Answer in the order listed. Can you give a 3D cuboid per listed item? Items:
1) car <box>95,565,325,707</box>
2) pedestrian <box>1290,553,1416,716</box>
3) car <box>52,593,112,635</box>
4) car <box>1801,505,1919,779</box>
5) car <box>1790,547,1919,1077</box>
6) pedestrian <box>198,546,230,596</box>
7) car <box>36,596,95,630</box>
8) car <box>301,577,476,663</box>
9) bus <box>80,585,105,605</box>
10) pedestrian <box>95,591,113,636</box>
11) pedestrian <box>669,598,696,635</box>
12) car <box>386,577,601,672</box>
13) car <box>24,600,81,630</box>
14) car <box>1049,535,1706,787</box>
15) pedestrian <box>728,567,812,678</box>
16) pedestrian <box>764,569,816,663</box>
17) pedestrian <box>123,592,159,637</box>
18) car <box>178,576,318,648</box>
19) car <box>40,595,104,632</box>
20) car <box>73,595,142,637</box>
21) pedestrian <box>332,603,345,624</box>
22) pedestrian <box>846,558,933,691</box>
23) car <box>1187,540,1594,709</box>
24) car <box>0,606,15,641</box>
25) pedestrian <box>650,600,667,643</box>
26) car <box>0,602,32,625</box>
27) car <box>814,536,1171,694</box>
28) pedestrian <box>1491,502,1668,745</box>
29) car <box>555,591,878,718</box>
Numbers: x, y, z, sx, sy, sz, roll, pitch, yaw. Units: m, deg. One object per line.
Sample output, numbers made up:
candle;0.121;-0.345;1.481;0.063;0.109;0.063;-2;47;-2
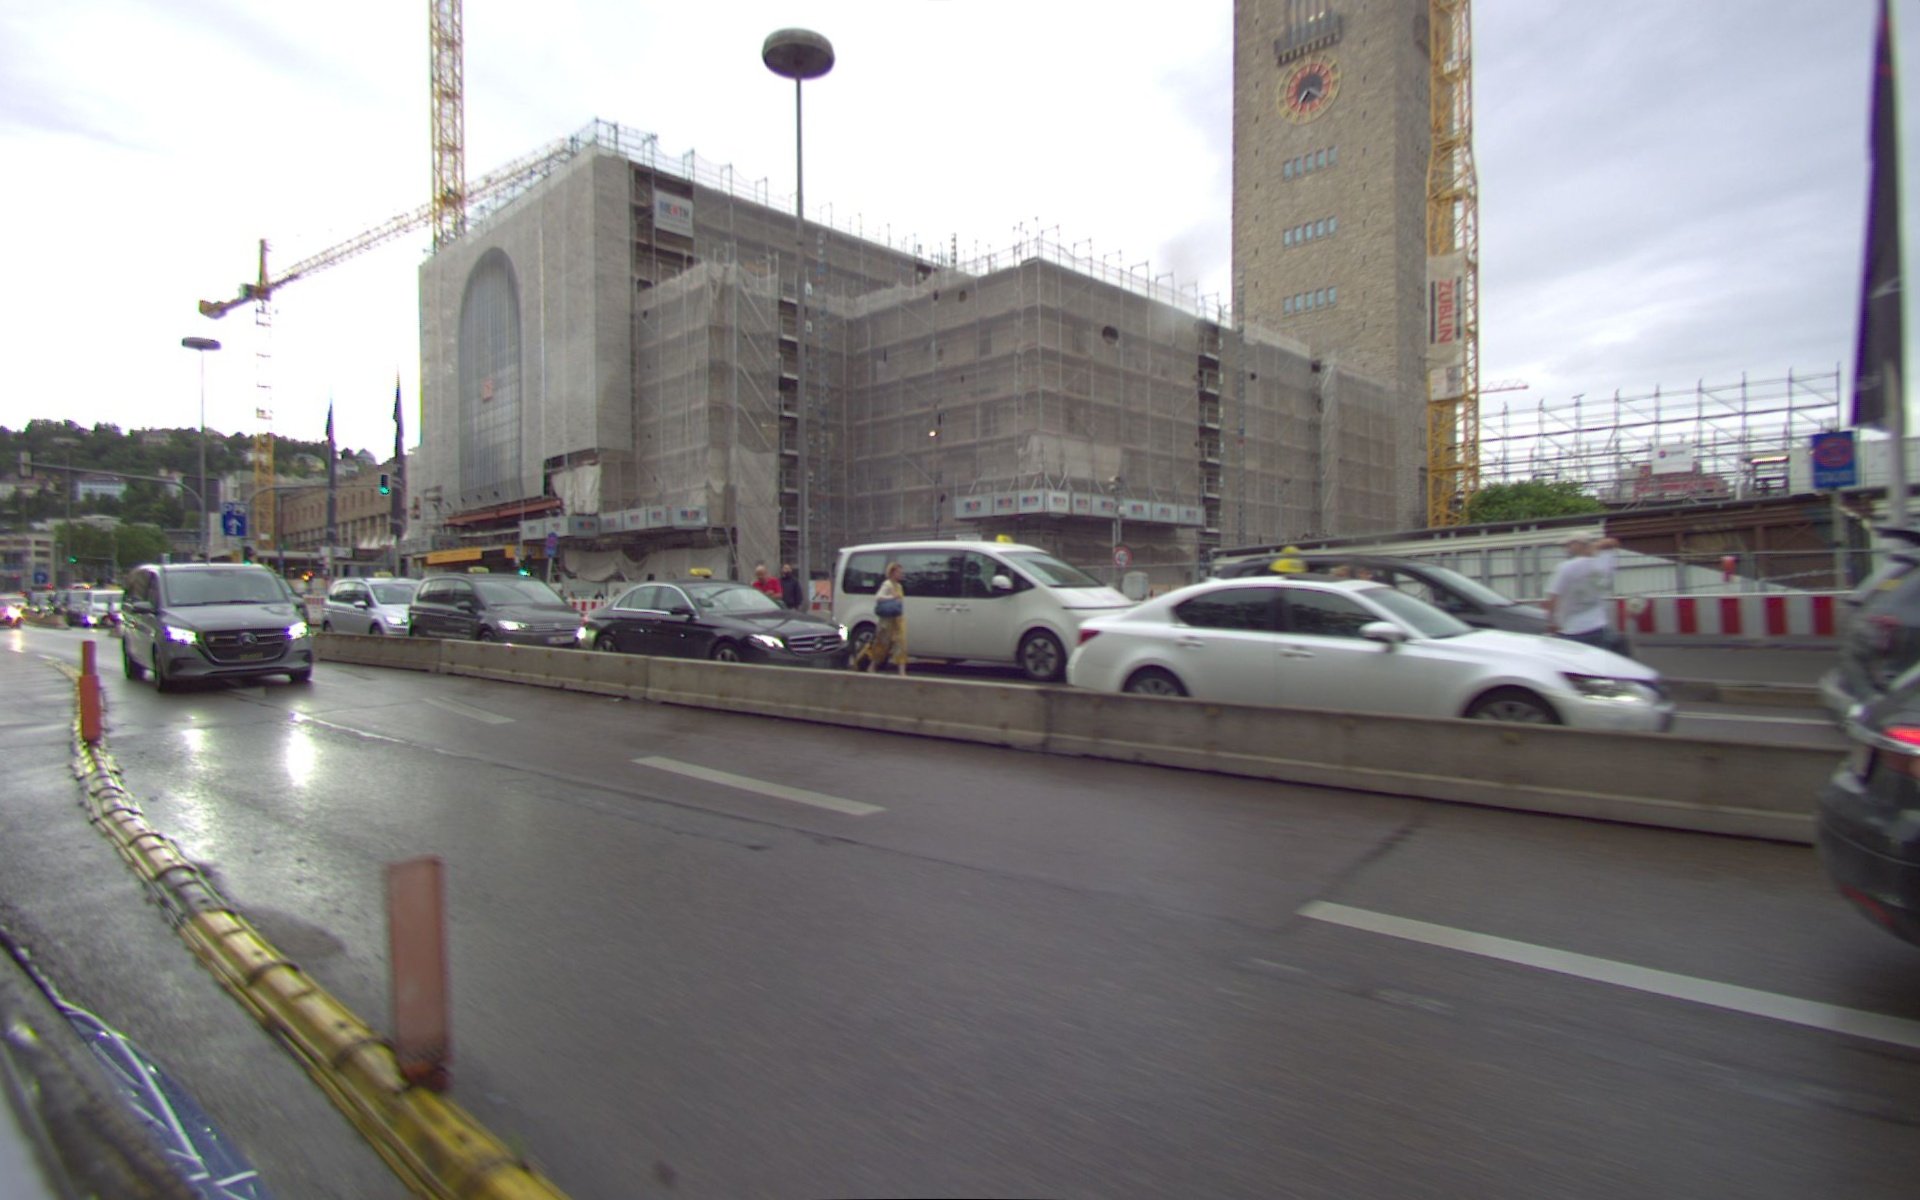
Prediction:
car;-12.153;0.474;16.233;5.250;1.918;1.972;0;1;43
pedestrian;4.339;0.365;11.186;0.824;1.695;1.029;0;0;-44
car;-41.439;0.641;47.722;4.610;1.906;1.695;0;0;43
car;7.383;0.259;5.510;4.143;1.541;1.976;0;-1;36
car;4.993;0.589;2.240;4.847;1.519;1.859;0;0;40
pedestrian;-29.331;-1.129;39.792;0.689;1.900;0.823;-1;-1;34
car;-49.562;0.698;56.028;4.453;1.800;1.972;0;0;42
car;-12.778;0.381;22.497;4.770;1.709;1.805;0;1;40
bus;-167.907;-0.873;195.814;2.875;3.605;19.096;1;-1;-43
pedestrian;-39.249;0.613;46.399;0.890;2.029;0.522;-1;0;41
pedestrian;-13.032;0.775;47.553;0.827;1.676;1.025;1;0;10
car;-8.608;0.376;18.500;4.487;1.522;1.805;0;1;40
car;-53.325;0.866;59.442;5.054;1.724;2.027;0;0;42
car;3.327;0.405;8.689;4.871;1.579;1.973;0;-1;40
pedestrian;-3.016;0.343;16.067;1.013;1.687;0.837;0;0;-44
pedestrian;-3.274;0.294;19.493;0.627;1.766;0.823;-1;1;-44
pedestrian;-37.811;0.663;46.720;0.831;2.029;1.020;-1;0;23
car;-20.249;0.285;28.701;5.058;1.859;1.974;0;1;40
car;-45.400;0.648;51.690;4.847;1.800;1.972;0;0;43
car;-36.559;0.675;43.375;4.667;1.698;1.766;0;0;44
pedestrian;-49.235;1.039;80.162;0.668;1.626;0.839;-1;0;-44
pedestrian;-1.010;0.338;14.332;0.822;1.797;1.031;0;0;-32
car;4.886;0.223;11.753;4.051;1.642;1.698;0;1;39
car;-43.590;1.046;45.335;1.685;1.505;3.672;-2;1;-45
pedestrian;-13.436;0.964;45.127;0.705;1.895;0.862;1;0;-17
car;-72.335;1.020;77.120;4.832;1.719;1.972;0;0;43
car;0.342;0.170;15.484;5.363;2.029;1.974;0;1;39
pedestrian;5.470;0.188;8.971;1.011;2.029;0.838;-1;0;-13
car;-3.665;0.656;14.681;5.000;1.522;1.953;0;1;39
